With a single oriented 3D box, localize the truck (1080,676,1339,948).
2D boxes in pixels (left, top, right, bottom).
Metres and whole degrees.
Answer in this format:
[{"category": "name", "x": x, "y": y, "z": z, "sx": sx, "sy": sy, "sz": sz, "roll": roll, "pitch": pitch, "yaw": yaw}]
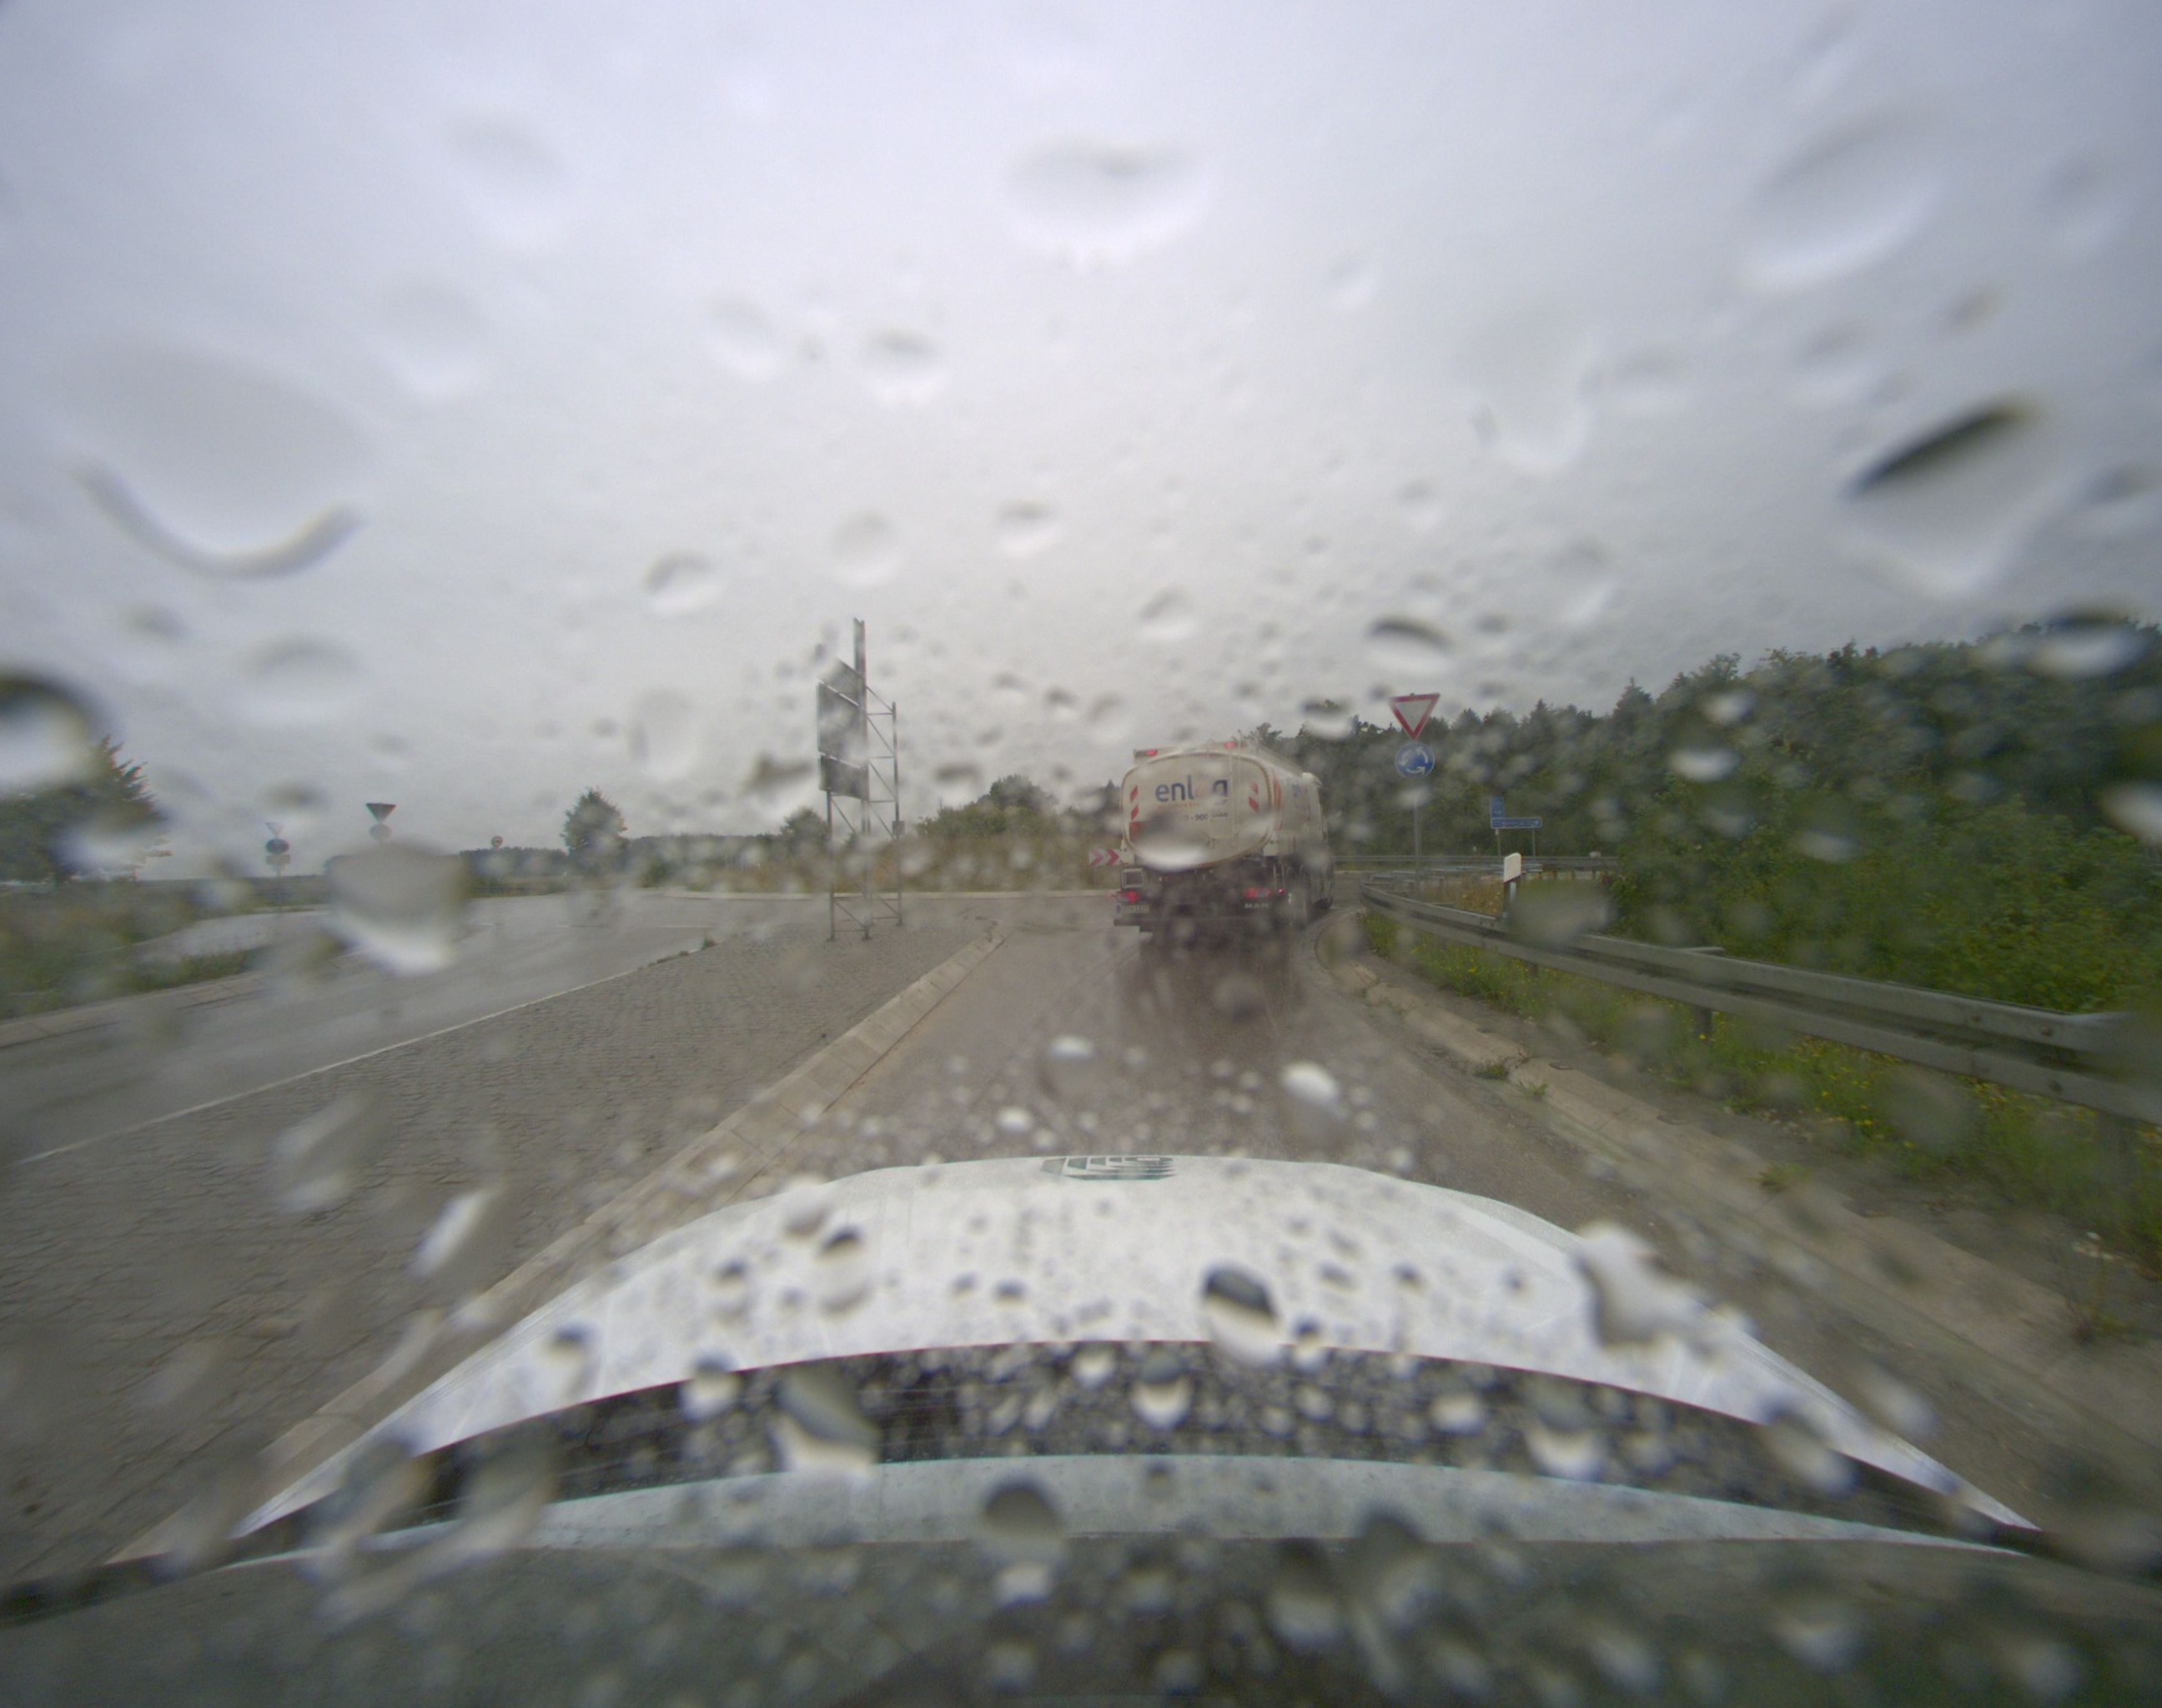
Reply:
[{"category": "truck", "x": 3.111, "y": -0.593, "z": 16.199, "sx": 3.012, "sy": 3.852, "sz": 8.870, "roll": -1, "pitch": 0, "yaw": 23}]
